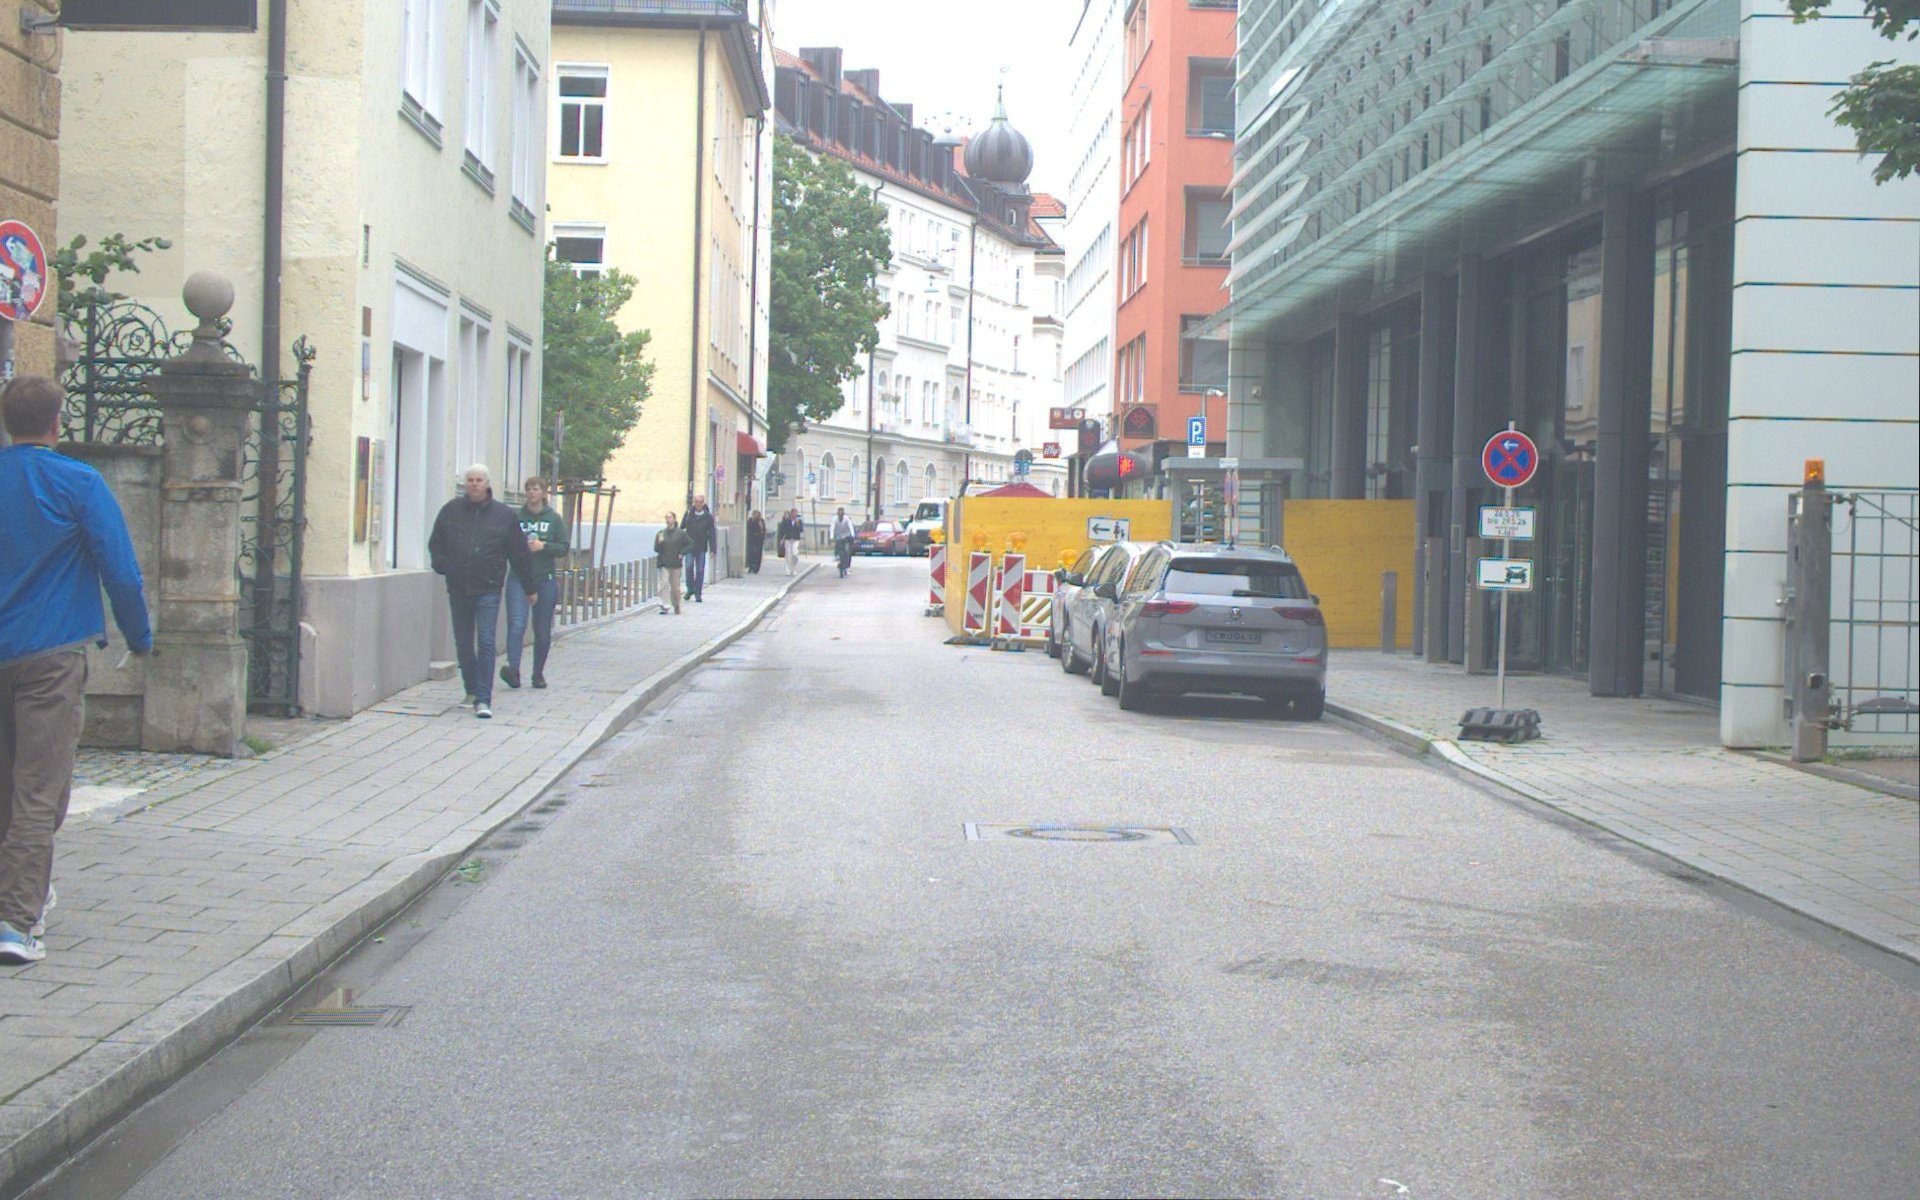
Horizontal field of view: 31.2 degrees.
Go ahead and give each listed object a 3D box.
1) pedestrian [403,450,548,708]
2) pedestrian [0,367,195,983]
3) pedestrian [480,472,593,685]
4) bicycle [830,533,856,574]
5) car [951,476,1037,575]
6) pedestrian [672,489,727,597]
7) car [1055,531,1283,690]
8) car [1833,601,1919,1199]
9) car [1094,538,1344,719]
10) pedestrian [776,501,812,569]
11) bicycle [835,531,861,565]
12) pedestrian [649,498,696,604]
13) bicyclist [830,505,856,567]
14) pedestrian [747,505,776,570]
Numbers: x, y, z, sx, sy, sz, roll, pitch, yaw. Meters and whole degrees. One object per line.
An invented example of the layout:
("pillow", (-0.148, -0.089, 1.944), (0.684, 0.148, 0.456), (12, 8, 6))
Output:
("pedestrian", (-3.528, -0.161, 25.106), (0.905, 1.821, 0.956), (2, 1, -2))
("pedestrian", (-2.966, 0.207, 10.939), (0.757, 1.848, 1.077), (3, 1, -1))
("pedestrian", (-3.441, -0.181, 27.995), (0.712, 1.660, 0.930), (4, 1, -2))
("bicycle", (-3.115, -1.244, 91.553), (0.661, 1.035, 2.005), (1, 1, -2))
("car", (0.902, -2.019, 93.026), (1.993, 2.528, 4.976), (2, 1, -2))
("pedestrian", (-4.650, -1.014, 61.335), (0.867, 1.875, 1.135), (2, 1, -2))
("car", (2.105, 0.063, 35.776), (1.707, 1.462, 4.238), (3, 1, -5))
("car", (2.804, 0.819, 4.461), (1.760, 1.442, 4.300), (3, 1, -7))
("car", (2.218, 0.199, 30.484), (1.708, 1.427, 4.330), (2, 1, -2))
("pedestrian", (-4.271, -1.666, 88.306), (0.839, 1.694, 0.803), (2, 1, -2))
("bicycle", (-3.116, -1.452, 95.522), (0.707, 0.902, 1.810), (1, 1, -2))
("pedestrian", (-4.620, -0.791, 55.271), (0.647, 1.670, 0.724), (2, 1, -2))
("bicyclist", (-3.110, -1.702, 91.592), (0.659, 1.637, 0.895), (1, 1, -2))
("pedestrian", (-5.120, -1.599, 88.567), (0.670, 1.642, 0.762), (2, 1, -2))
